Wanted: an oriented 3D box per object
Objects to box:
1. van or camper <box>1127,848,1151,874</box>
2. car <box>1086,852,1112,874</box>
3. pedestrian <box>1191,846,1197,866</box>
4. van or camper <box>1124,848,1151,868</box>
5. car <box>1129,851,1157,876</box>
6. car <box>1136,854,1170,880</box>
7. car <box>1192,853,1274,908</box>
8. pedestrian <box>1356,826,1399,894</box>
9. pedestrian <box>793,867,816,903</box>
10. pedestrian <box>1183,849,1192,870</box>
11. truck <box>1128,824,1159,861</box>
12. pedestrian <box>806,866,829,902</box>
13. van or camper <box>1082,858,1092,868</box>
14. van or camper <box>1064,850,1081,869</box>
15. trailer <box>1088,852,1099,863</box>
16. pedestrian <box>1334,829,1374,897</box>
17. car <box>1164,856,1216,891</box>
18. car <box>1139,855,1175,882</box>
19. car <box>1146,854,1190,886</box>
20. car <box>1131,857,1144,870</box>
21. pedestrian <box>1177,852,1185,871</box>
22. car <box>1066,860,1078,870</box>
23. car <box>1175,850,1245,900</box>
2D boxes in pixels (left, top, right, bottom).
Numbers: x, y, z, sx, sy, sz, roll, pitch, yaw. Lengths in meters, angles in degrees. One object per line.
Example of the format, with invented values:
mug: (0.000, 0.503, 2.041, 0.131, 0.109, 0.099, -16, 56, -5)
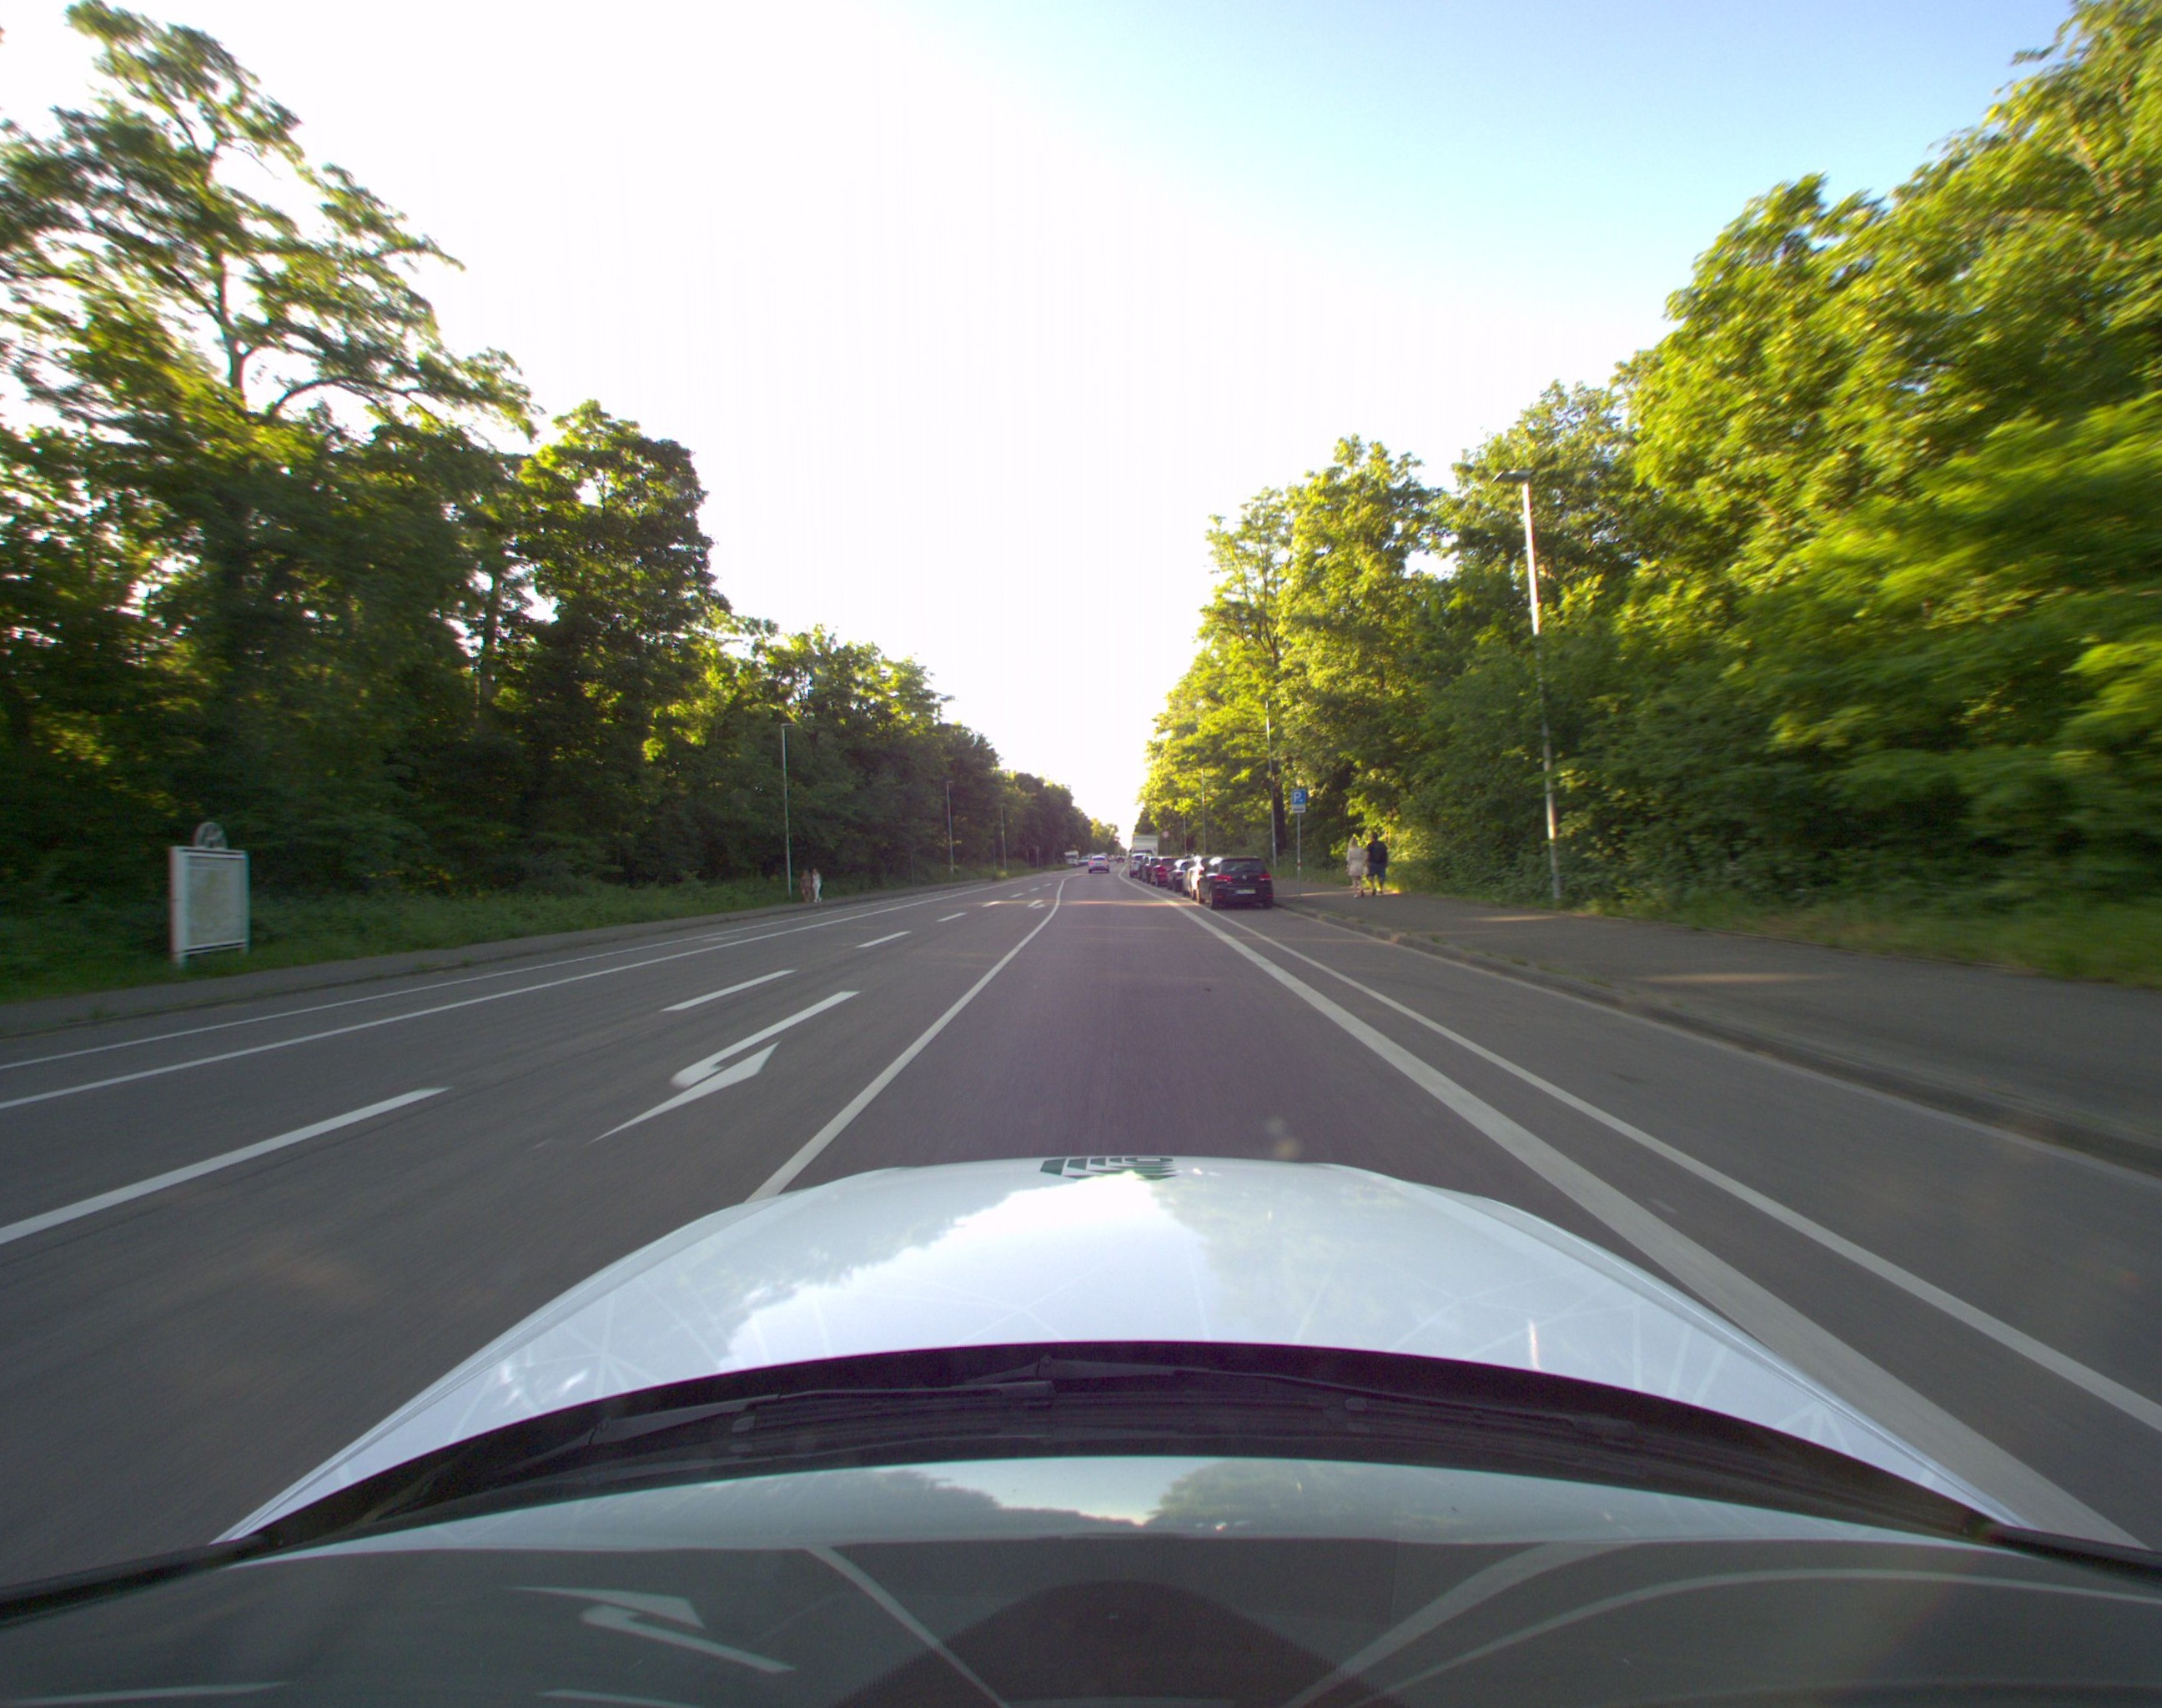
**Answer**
van or camper: (4.835, 0.548, 68.059, 1.889, 2.013, 4.591, -3, 0, 4)
car: (1.640, 0.765, 73.583, 2.020, 1.840, 4.033, -3, 0, 4)
pedestrian: (9.342, 0.161, 67.253, 0.392, 1.588, 0.482, -3, -1, 3)
van or camper: (8.470, 0.580, 120.682, 2.422, 2.799, 6.586, -3, 0, 17)
car: (4.234, 0.623, 55.666, 1.791, 1.595, 4.033, -3, 0, 4)
car: (4.373, 0.745, 50.080, 1.801, 1.519, 4.505, -1, 0, 1)
car: (4.368, 0.710, 23.964, 1.651, 1.452, 4.019, -1, 0, 0)
pedestrian: (8.259, 0.163, 22.721, 0.673, 1.799, 0.952, -5, 0, -2)
pedestrian: (-13.191, 1.489, 38.822, 0.671, 1.653, 0.791, -3, 0, 8)
pedestrian: (9.369, 0.463, 71.777, 0.615, 1.764, 0.907, -3, -1, 3)
truck: (6.343, -1.113, 83.577, 2.821, 3.497, 8.584, -3, 0, 3)
pedestrian: (-12.518, 1.442, 38.739, 0.671, 1.653, 0.791, -3, 0, 8)
van or camper: (1.258, 1.925, 170.828, 1.828, 1.911, 4.859, -4, -1, 3)
van or camper: (-1.387, 0.937, 137.768, 2.306, 2.970, 7.113, -5, -1, 1)
trailer: (2.978, 0.819, 194.070, 1.985, 2.597, 4.420, -5, -1, 4)
pedestrian: (7.571, 0.247, 22.611, 0.673, 1.799, 0.789, -5, 0, -2)
car: (4.513, 0.786, 34.172, 1.623, 1.319, 3.840, -2, 0, 0)
car: (4.168, 0.757, 45.208, 1.589, 1.401, 3.797, -1, 0, -1)
car: (4.169, 0.733, 39.654, 1.612, 1.469, 3.721, -1, 0, -2)
car: (7.527, 1.261, 108.477, 1.704, 1.665, 4.557, -1, 0, 5)
pedestrian: (8.500, 0.634, 69.562, 0.561, 1.588, 0.482, -3, -1, 3)
car: (-1.433, 1.739, 129.781, 1.821, 1.476, 4.681, -4, 0, 1)
car: (4.451, 0.692, 28.599, 1.731, 1.525, 4.359, -3, 0, 0)
